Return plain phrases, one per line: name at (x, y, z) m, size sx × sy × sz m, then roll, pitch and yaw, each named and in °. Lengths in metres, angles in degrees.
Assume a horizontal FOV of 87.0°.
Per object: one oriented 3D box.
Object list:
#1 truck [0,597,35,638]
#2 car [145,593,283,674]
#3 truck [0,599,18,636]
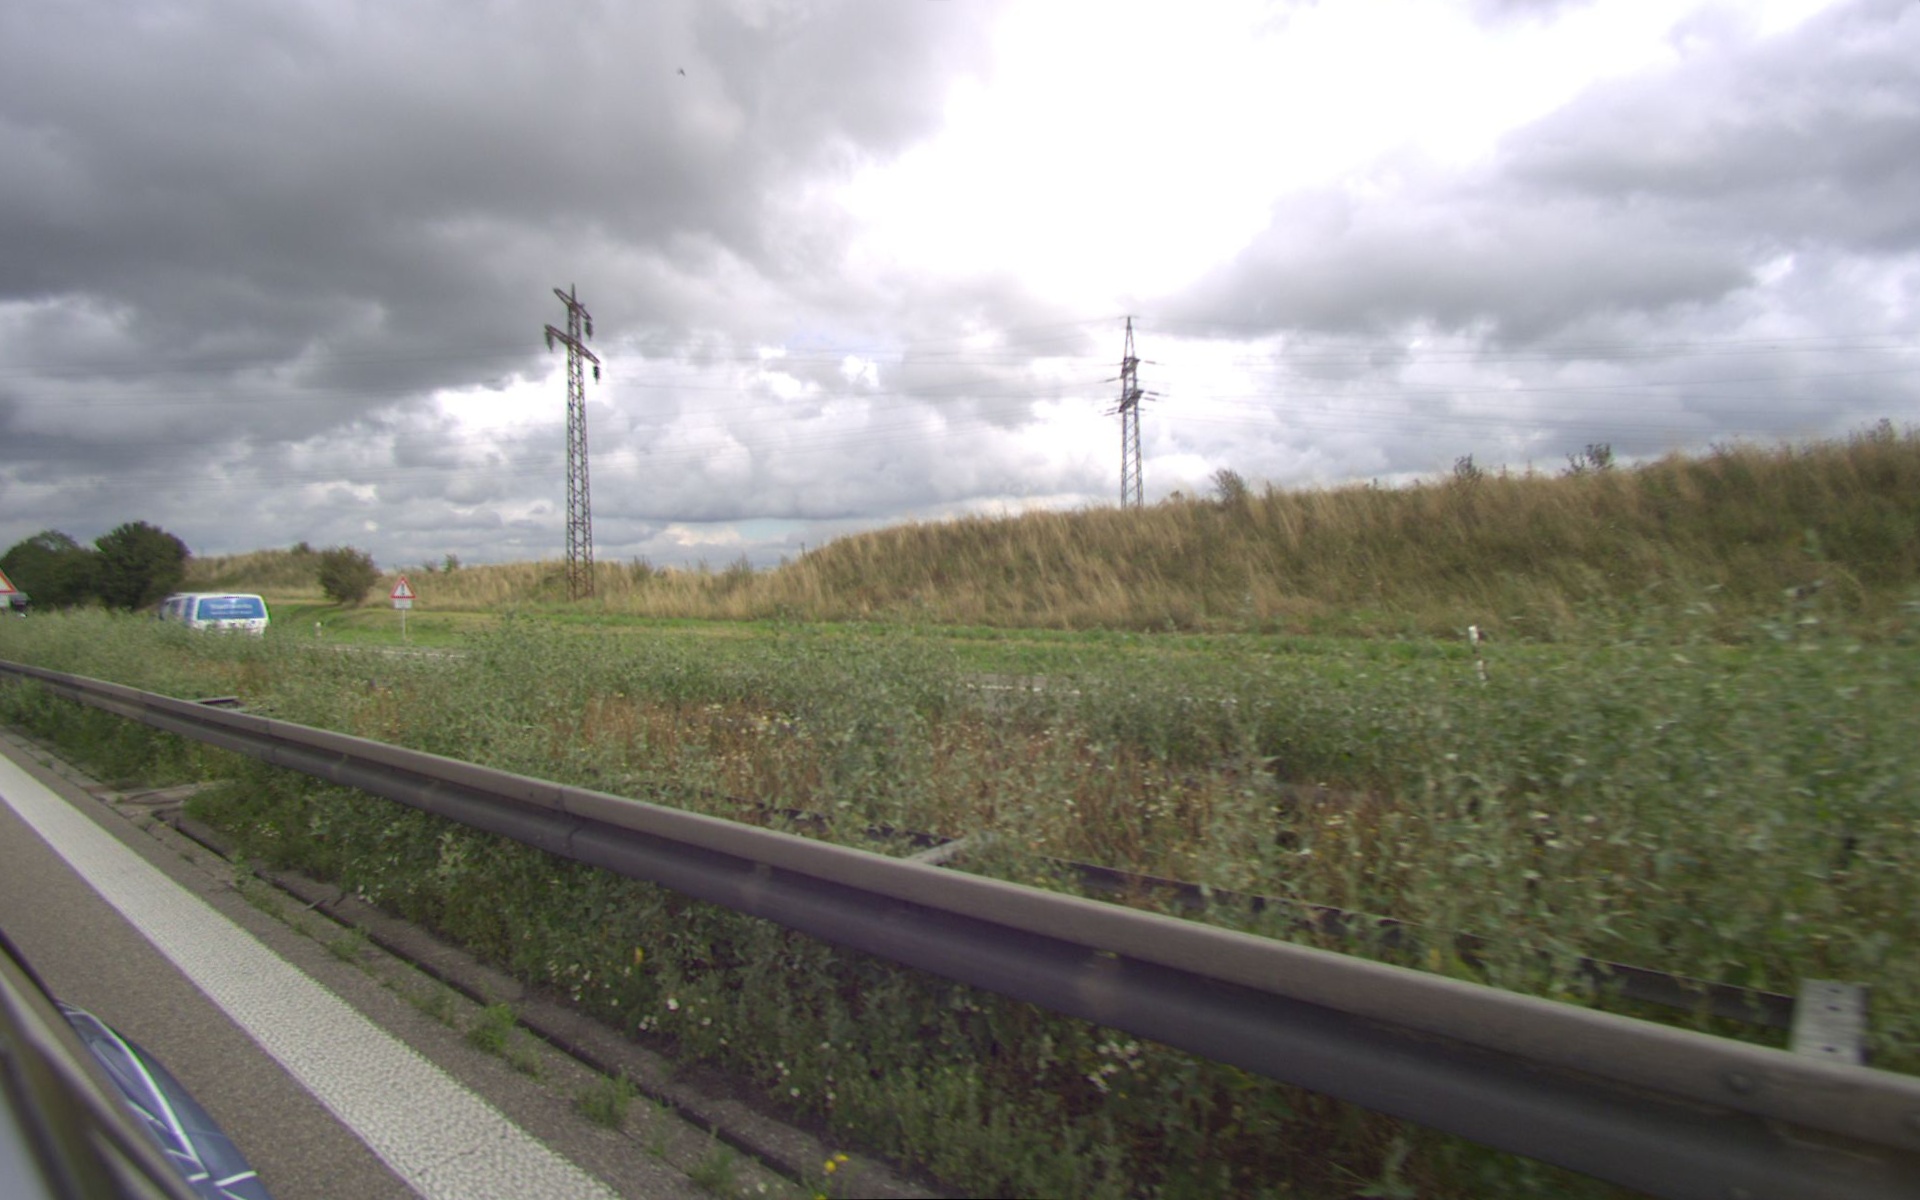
truck at (-97.251, 1.821, 103.279) m, size 17.398 × 3.966 × 2.694 m, roll -1°, pitch -1°, yaw 42°
car at (-20.855, 0.875, 28.184) m, size 5.529 × 2.029 × 1.973 m, roll -1°, pitch 0°, yaw 42°
truck at (-104.430, 1.959, 109.869) m, size 5.985 × 3.966 × 2.694 m, roll -1°, pitch -1°, yaw 42°
